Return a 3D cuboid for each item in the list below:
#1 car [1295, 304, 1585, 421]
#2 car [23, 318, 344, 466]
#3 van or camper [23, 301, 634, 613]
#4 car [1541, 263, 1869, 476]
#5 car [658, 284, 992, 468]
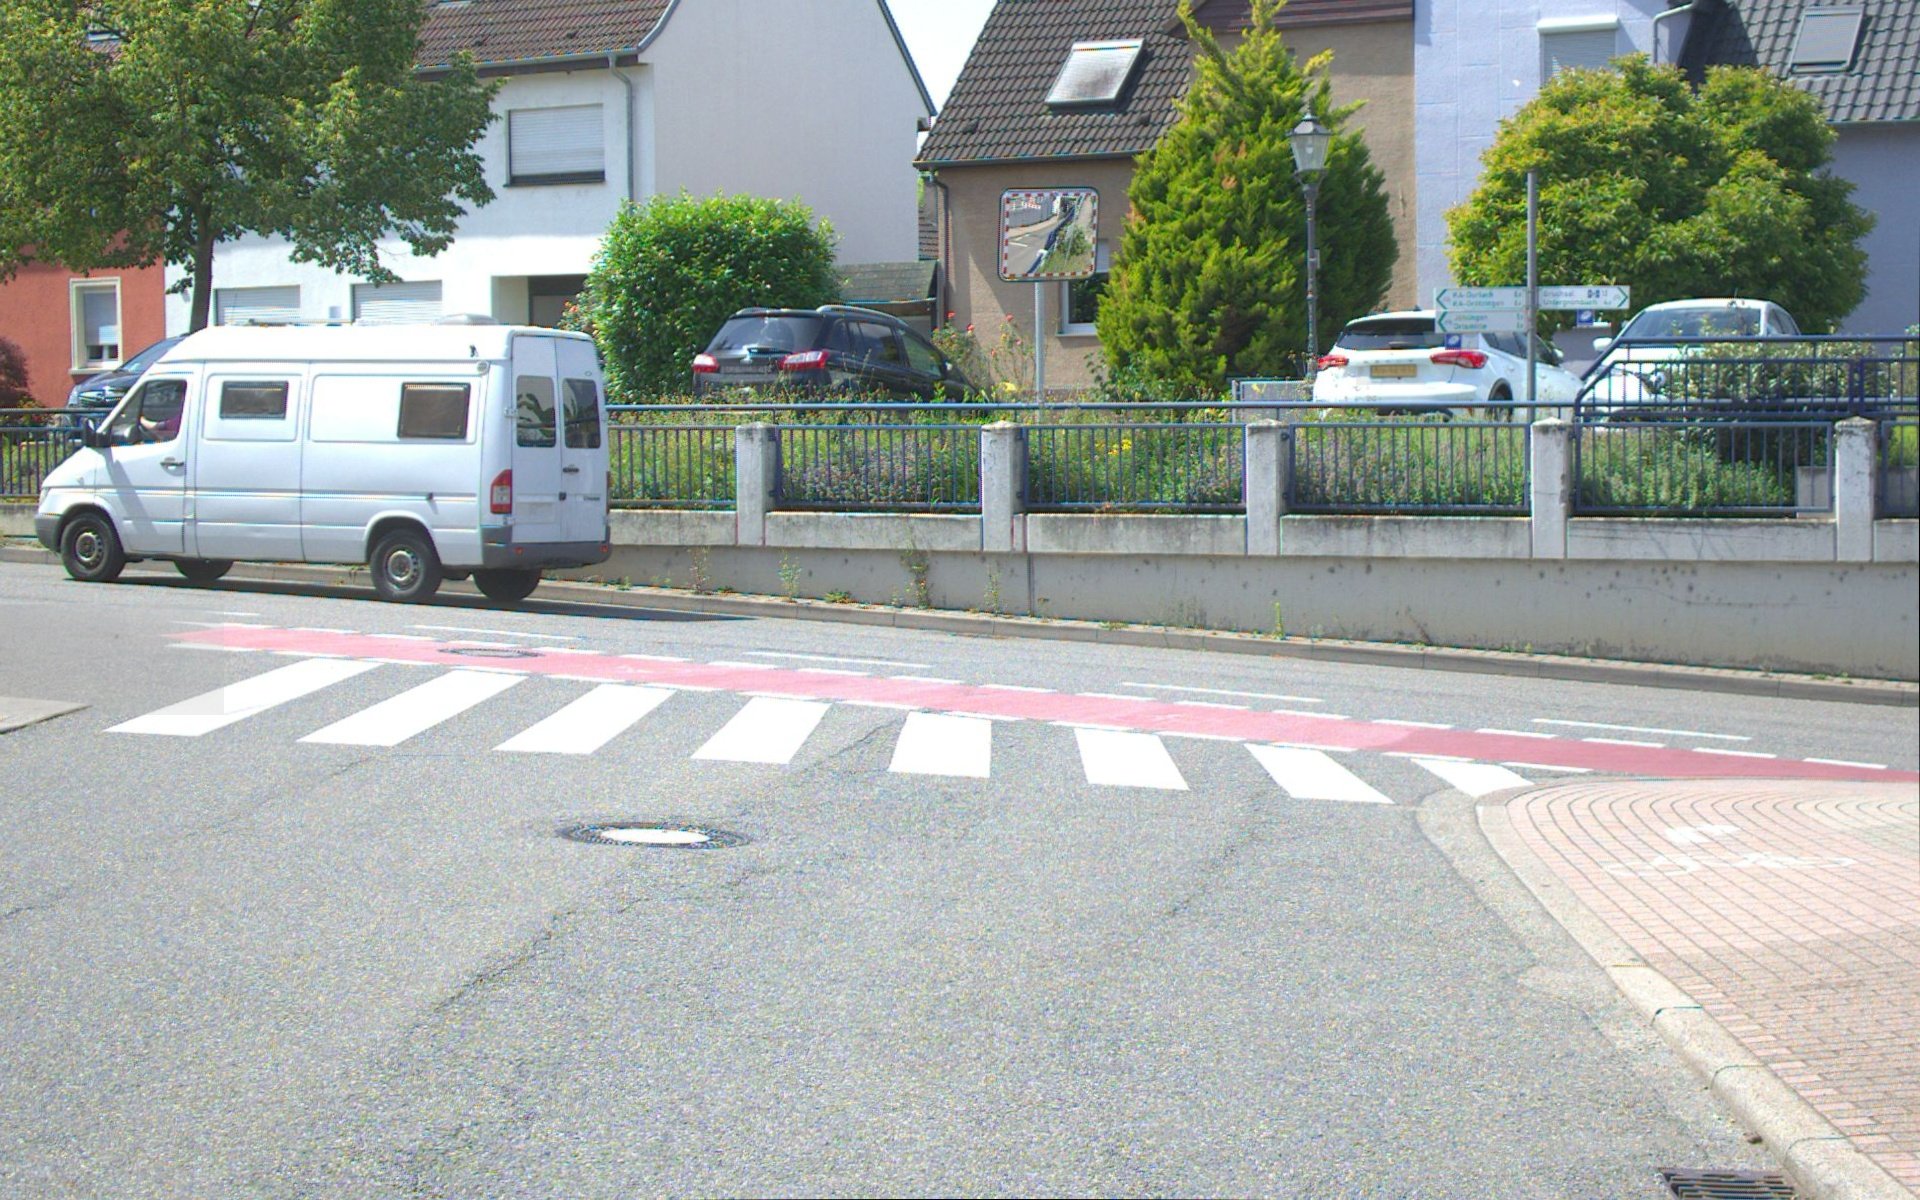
[{"bbox_3d":[4.788,-2.325,33.955,1.827,1.016,3.455,2,3,26],"label":"car"},{"bbox_3d":[-9.326,-2.488,41.544,1.870,1.581,3.605,5,4,26],"label":"car"},{"bbox_3d":[-5.950,-1.367,32.276,5.383,2.621,2.002,4,2,25],"label":"van or camper"},{"bbox_3d":[7.175,-2.151,32.804,1.997,1.790,4.191,5,4,26],"label":"car"},{"bbox_3d":[-1.407,-2.407,37.510,1.870,1.790,3.995,5,4,26],"label":"car"}]
